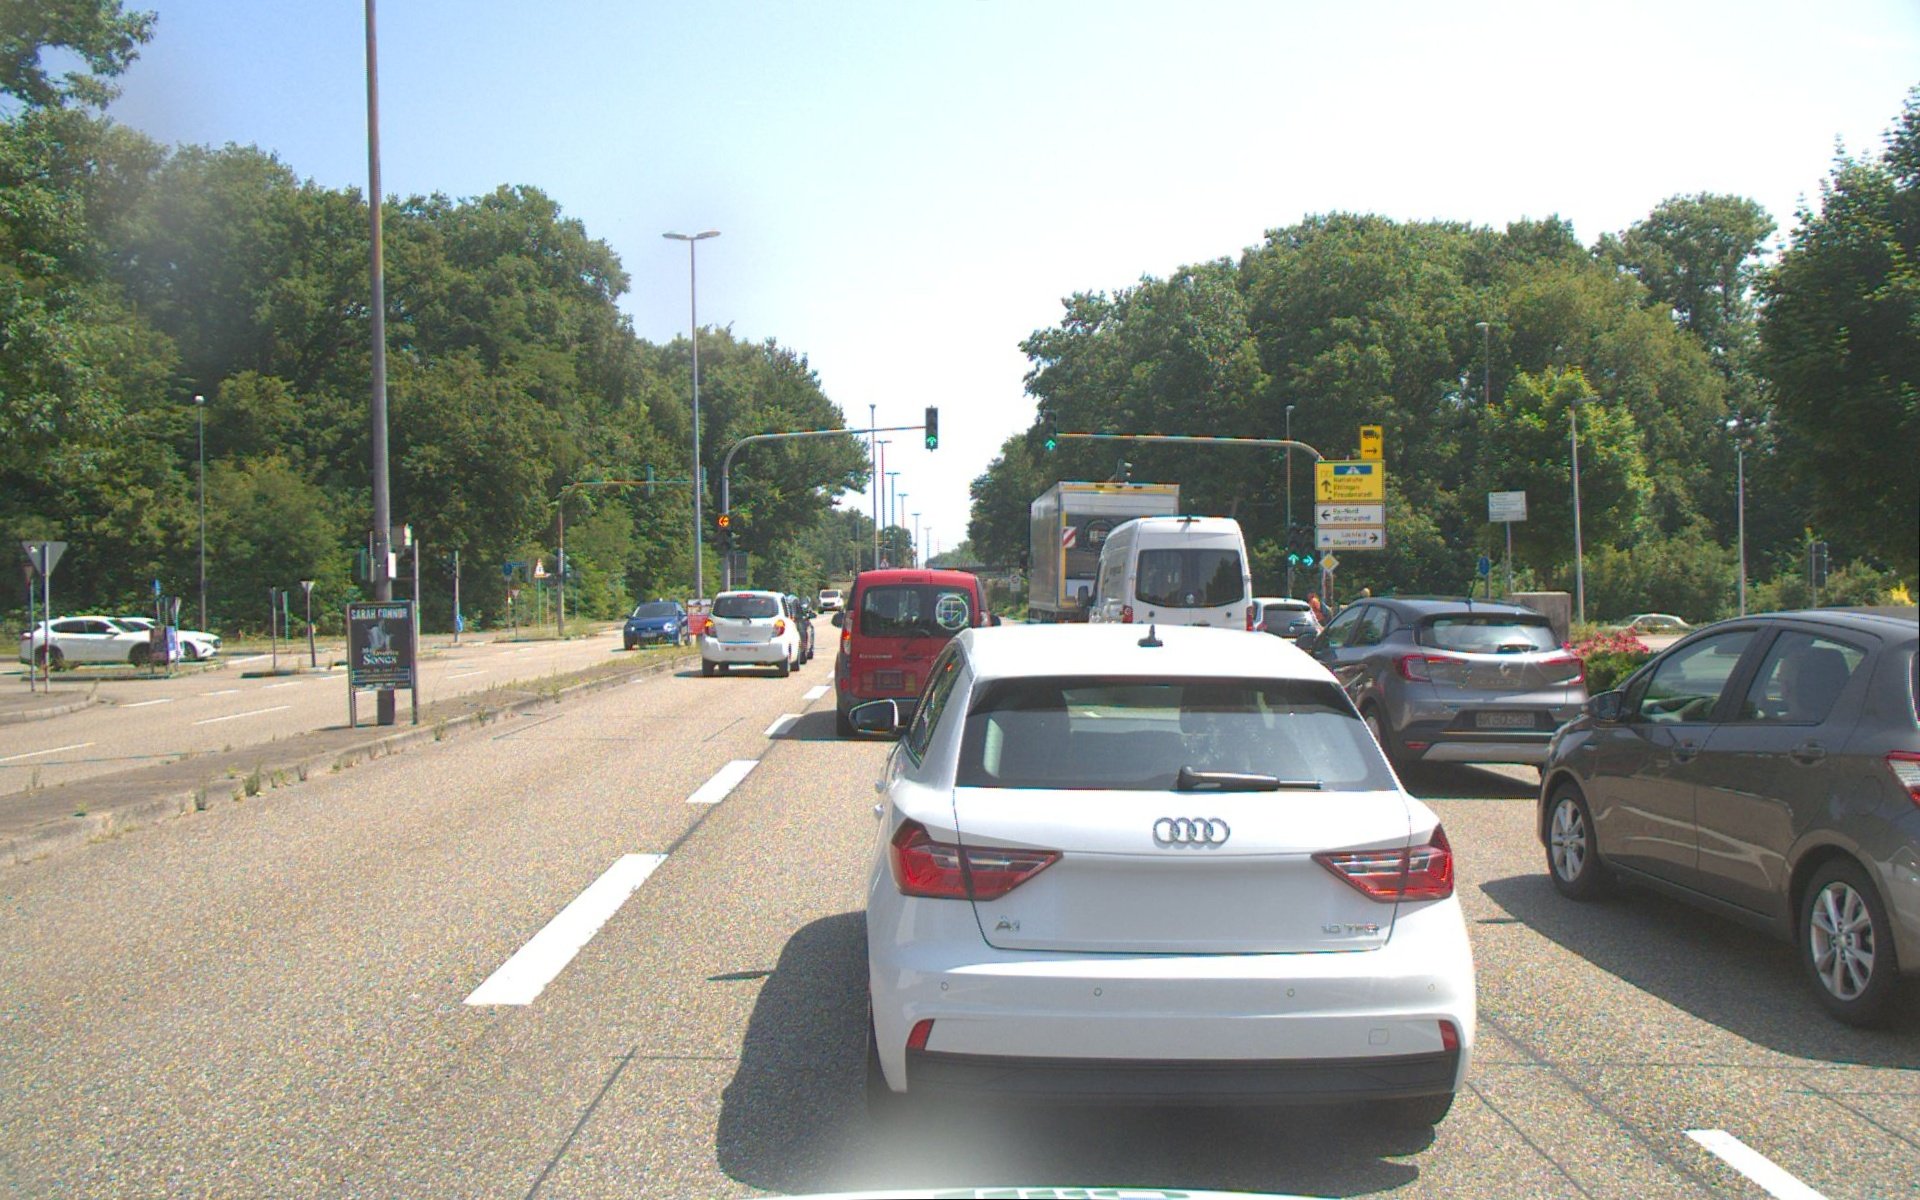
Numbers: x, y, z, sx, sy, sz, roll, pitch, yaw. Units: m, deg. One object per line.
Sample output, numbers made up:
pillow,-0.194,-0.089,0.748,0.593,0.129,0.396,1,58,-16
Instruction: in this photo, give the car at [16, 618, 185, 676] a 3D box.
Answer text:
car,-26.775,1.457,51.655,4.290,1.711,1.807,1,-1,-9

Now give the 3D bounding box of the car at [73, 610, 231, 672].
car,-27.039,1.346,55.470,4.291,1.710,1.807,-4,0,-9

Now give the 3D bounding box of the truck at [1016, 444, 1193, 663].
truck,3.190,-0.989,40.105,3.026,4.511,11.577,1,0,-1

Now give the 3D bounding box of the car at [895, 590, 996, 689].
car,-0.319,0.663,29.922,1.677,1.660,4.089,0,0,-3

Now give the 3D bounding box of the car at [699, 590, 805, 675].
car,-3.886,0.569,31.431,1.677,1.519,4.089,0,0,-3

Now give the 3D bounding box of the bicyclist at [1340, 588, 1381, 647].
bicyclist,10.236,0.445,42.224,0.815,1.464,0.595,-1,0,44

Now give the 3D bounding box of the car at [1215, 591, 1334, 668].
car,6.812,0.601,36.207,1.677,1.573,4.089,0,0,-3

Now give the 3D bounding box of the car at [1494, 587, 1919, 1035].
car,4.010,0.743,7.442,1.678,1.504,4.089,3,0,-3

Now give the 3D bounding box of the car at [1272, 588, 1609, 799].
car,4.102,0.717,14.826,1.677,1.621,4.089,0,0,-3

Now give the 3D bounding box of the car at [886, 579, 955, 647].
car,-1.052,0.307,42.241,1.677,1.660,4.089,0,0,-3

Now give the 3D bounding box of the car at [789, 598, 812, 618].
car,-14.452,0.679,149.748,1.793,1.758,3.999,-1,0,-2

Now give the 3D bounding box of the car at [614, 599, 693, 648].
car,-9.578,0.713,52.028,1.769,1.359,3.999,-4,0,-2

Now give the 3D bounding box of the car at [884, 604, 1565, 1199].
car,0.564,0.735,6.081,1.677,1.410,4.089,0,0,-3

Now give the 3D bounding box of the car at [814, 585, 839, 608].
car,-11.140,-0.270,138.434,1.835,1.893,3.998,-1,0,-2

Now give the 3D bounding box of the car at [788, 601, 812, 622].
car,-14.488,1.028,149.949,1.835,1.893,3.998,-1,0,-2

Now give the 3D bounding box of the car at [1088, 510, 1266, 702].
car,3.239,0.075,25.664,1.990,2.690,4.843,0,0,-2

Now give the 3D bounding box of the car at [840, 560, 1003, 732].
car,-0.487,0.473,19.159,1.677,1.779,4.089,0,0,-3
